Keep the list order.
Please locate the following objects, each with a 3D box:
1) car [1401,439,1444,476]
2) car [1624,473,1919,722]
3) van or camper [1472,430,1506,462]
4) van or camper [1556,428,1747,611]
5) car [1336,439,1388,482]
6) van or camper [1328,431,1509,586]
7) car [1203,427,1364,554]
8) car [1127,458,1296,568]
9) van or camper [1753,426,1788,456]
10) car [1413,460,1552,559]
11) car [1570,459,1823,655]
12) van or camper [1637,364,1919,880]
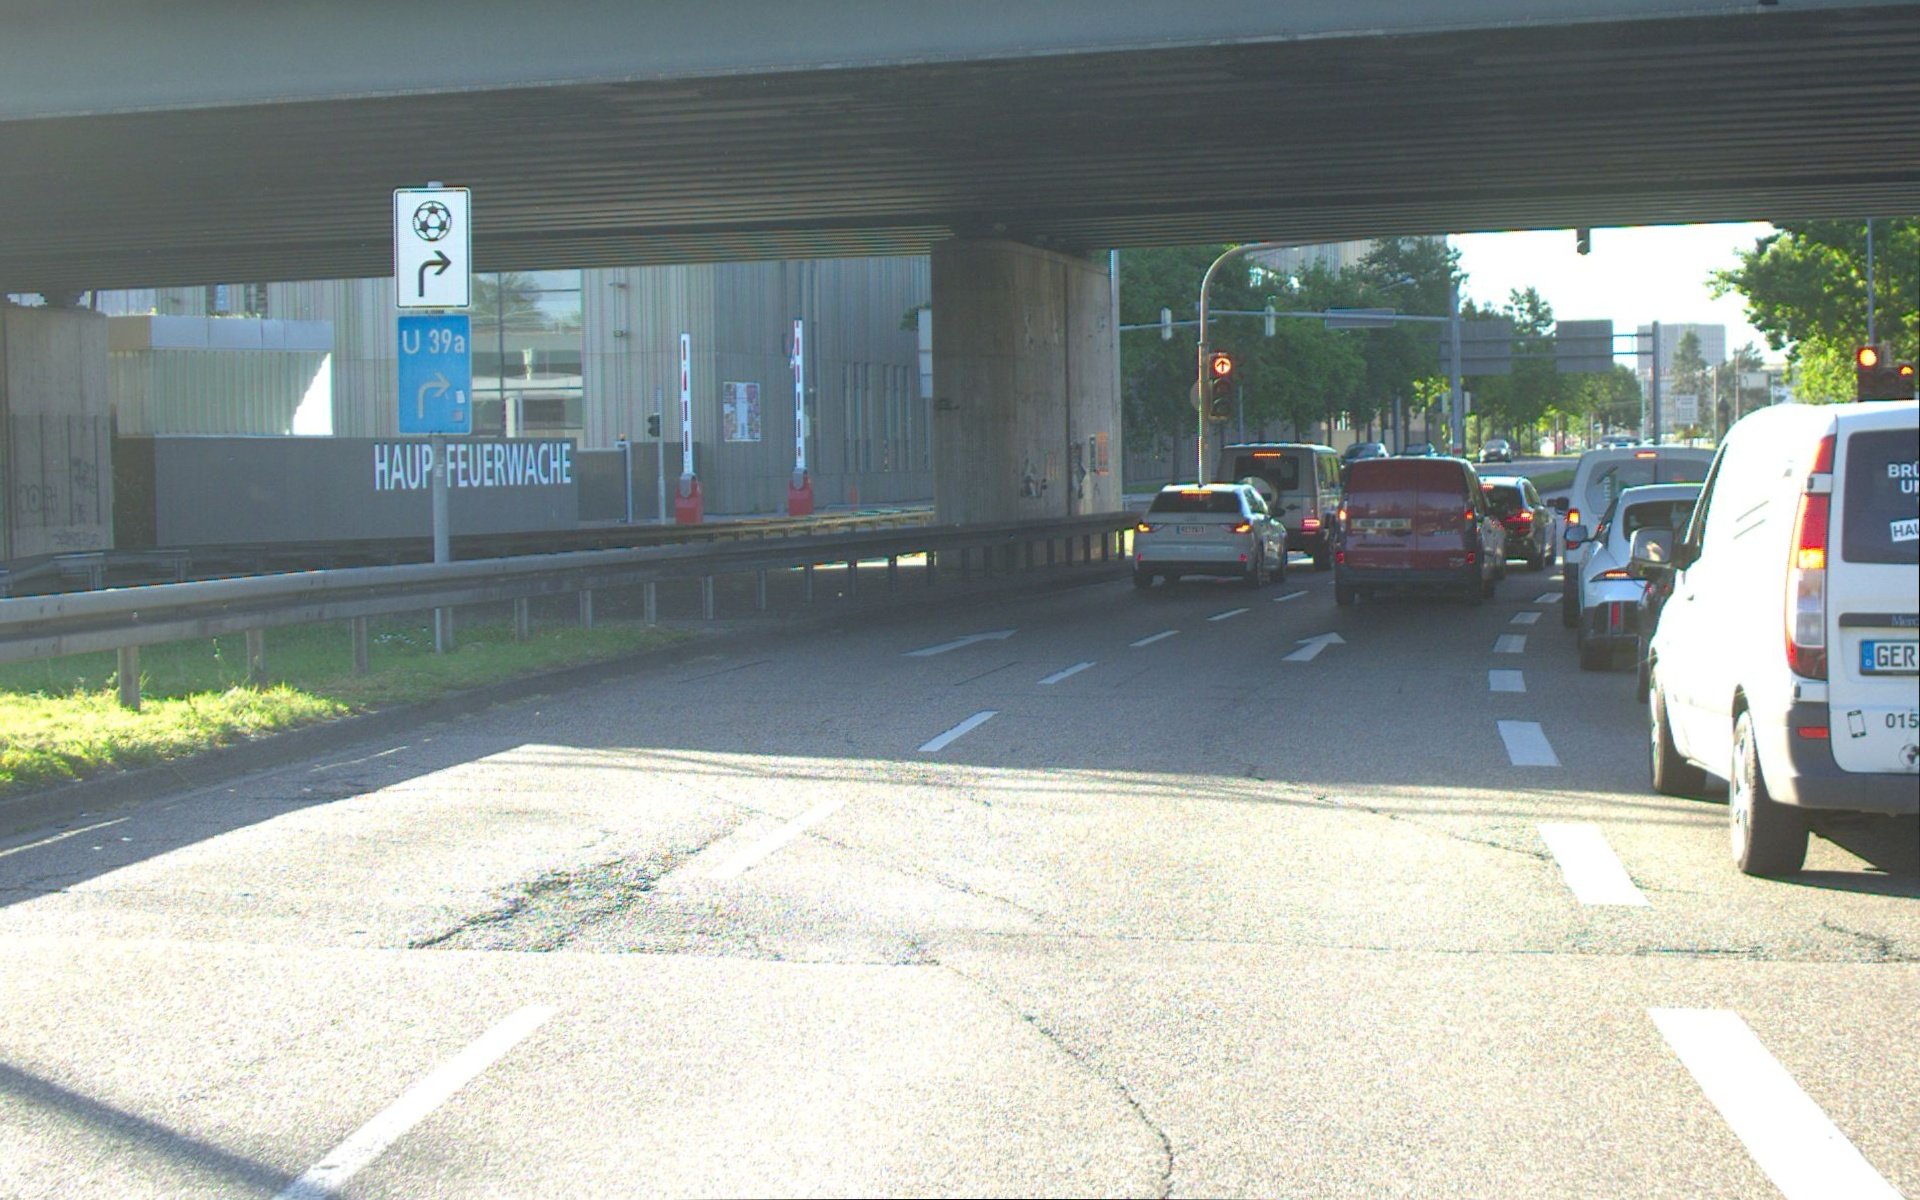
[{"bbox_3d":[24.592,-7.576,182.703,1.786,1.857,3.906,-2,1,14],"label":"car"},{"bbox_3d":[5.223,-0.084,22.394,1.605,1.429,3.677,1,3,9],"label":"car"},{"bbox_3d":[33.173,-9.644,215.540,1.786,1.857,3.907,-2,1,12],"label":"van or camper"},{"bbox_3d":[7.214,-0.875,36.120,1.826,1.785,4.543,1,2,10],"label":"van or camper"},{"bbox_3d":[18.493,-6.401,158.061,1.786,1.857,3.943,-2,1,14],"label":"car"},{"bbox_3d":[5.691,-1.147,42.346,1.755,1.807,3.956,0,2,14],"label":"van or camper"},{"bbox_3d":[5.196,-1.753,54.709,1.867,1.940,4.594,0,2,14],"label":"car"},{"bbox_3d":[3.513,-1.223,47.469,1.709,1.447,3.741,0,2,14],"label":"car"},{"bbox_3d":[54.464,-10.674,231.045,1.787,1.857,3.905,-2,2,20],"label":"van or camper"},{"bbox_3d":[8.288,-1.445,54.322,1.764,1.470,4.286,-1,2,14],"label":"car"},{"bbox_3d":[5.988,-0.394,28.336,1.764,1.470,4.288,-1,2,9],"label":"car"},{"bbox_3d":[4.181,0.001,14.880,1.959,1.877,4.879,0,2,5],"label":"van or camper"}]
